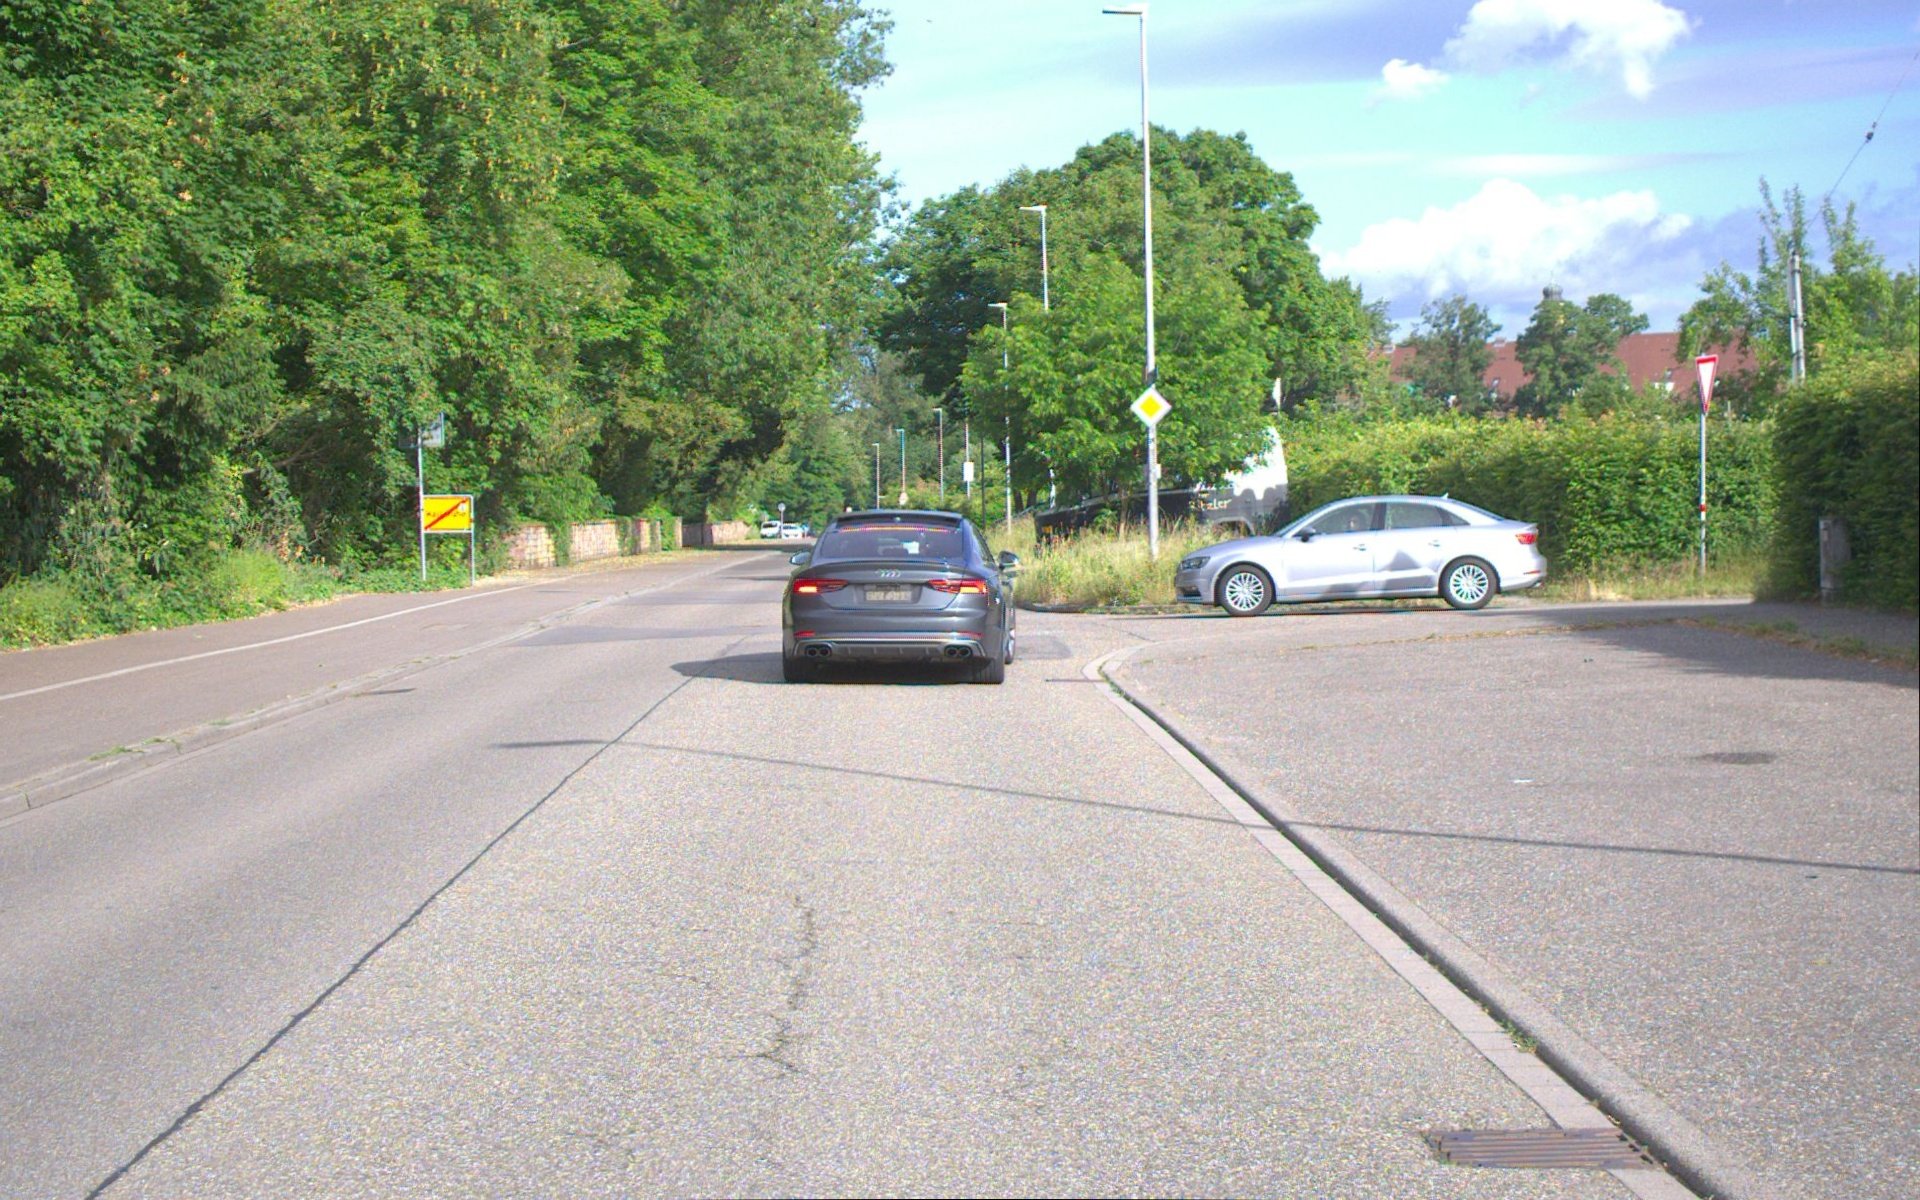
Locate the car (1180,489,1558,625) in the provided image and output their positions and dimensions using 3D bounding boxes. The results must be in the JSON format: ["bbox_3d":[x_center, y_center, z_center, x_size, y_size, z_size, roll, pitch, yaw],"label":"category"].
[{"bbox_3d":[4.887,-0.516,41.324,4.363,1.438,1.932,-2,1,6],"label":"car"}]

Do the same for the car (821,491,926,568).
[{"bbox_3d":[-1.636,-1.324,64.529,1.886,1.367,4.055,-1,1,-2],"label":"car"}]

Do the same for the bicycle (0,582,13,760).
[{"bbox_3d":[-6.253,0.457,20.333,0.662,1.093,2.349,1,1,0],"label":"bicycle"}]

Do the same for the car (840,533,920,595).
[{"bbox_3d":[-1.973,-0.898,84.371,1.886,1.460,4.055,-1,1,-2],"label":"car"}]

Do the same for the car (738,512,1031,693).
[{"bbox_3d":[-0.558,-0.034,29.422,1.967,1.429,4.335,0,1,6],"label":"car"}]

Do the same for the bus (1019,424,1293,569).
[{"bbox_3d":[4.031,-2.147,71.184,5.364,2.737,2.069,-2,2,-3],"label":"bus"}]
